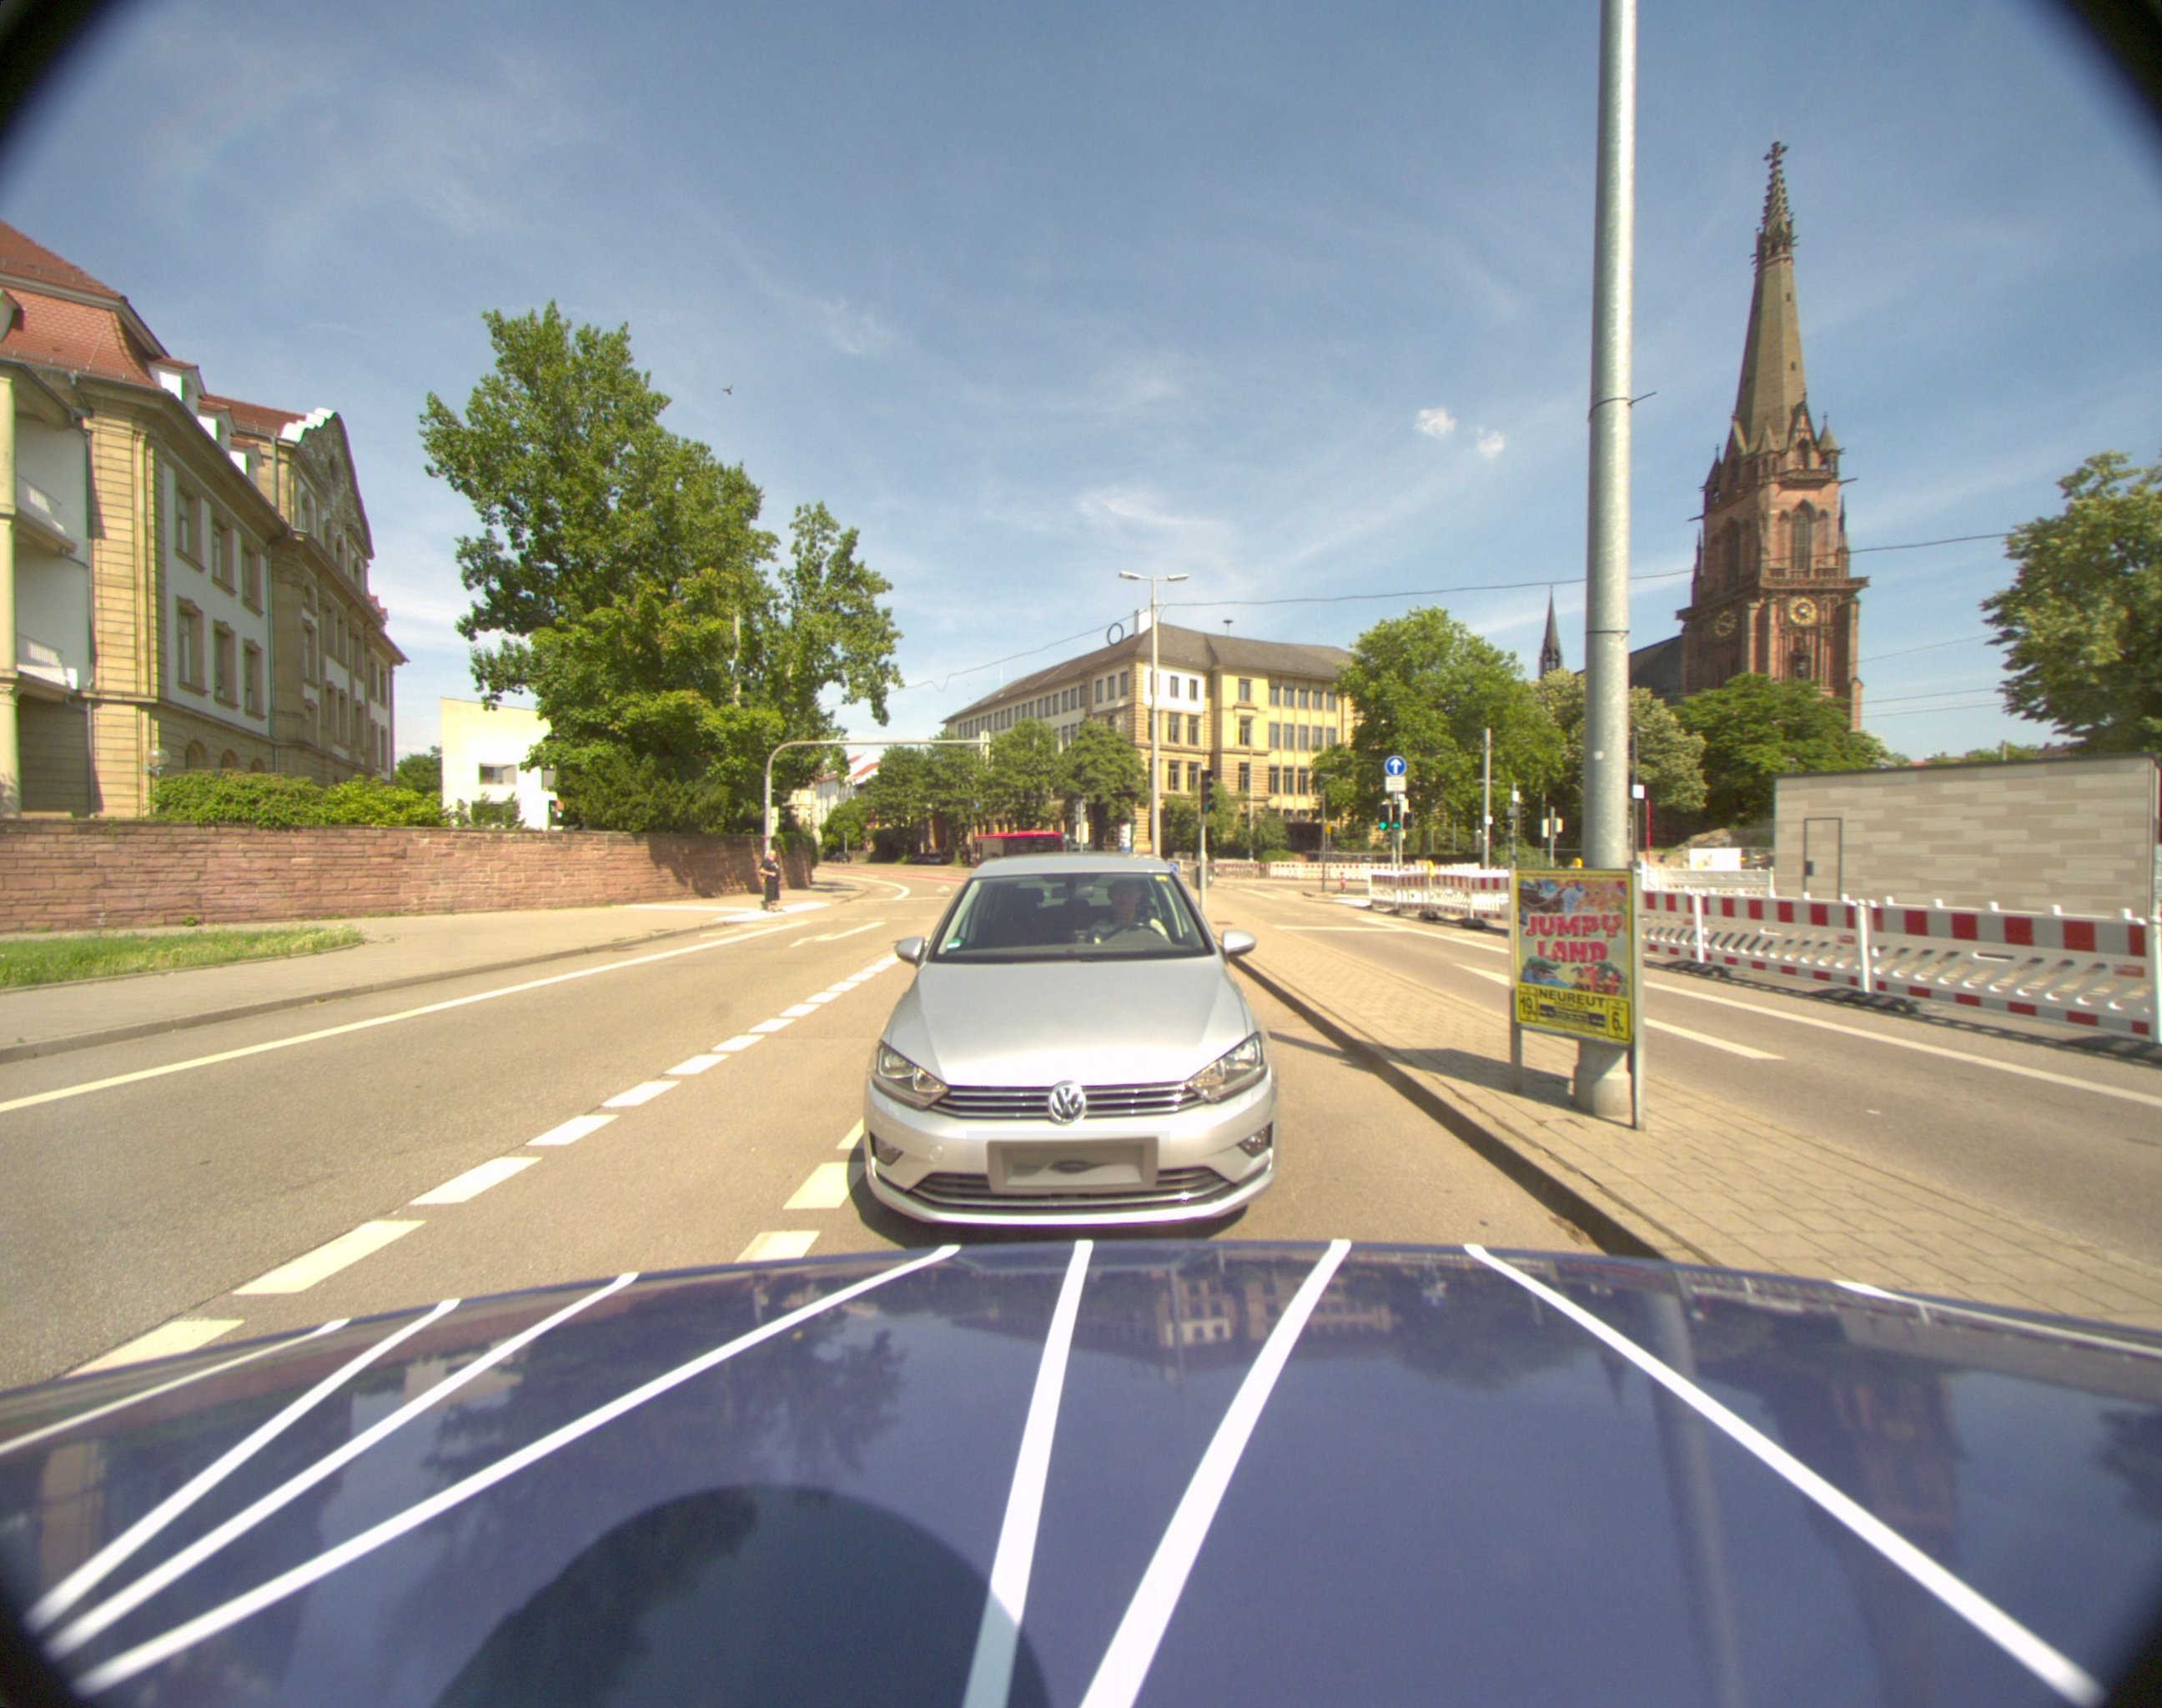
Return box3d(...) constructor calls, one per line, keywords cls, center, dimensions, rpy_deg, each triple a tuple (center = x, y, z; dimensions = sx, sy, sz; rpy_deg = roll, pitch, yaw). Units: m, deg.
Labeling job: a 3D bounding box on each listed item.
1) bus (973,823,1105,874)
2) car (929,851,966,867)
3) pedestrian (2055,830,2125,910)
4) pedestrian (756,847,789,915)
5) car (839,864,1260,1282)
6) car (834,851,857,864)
box3d(cls="bus", center=(-3.281, -0.287, 52.719), dimensions=(3.138, 3.076, 12.382), rpy_deg=(-3, 1, -34))
box3d(cls="car", center=(-16.509, 0.575, 93.772), dimensions=(4.006, 1.653, 1.994), rpy_deg=(-3, 4, -35))
box3d(cls="pedestrian", center=(26.024, 0.405, 19.612), dimensions=(0.820, 2.002, 0.686), rpy_deg=(1, 1, 3))
box3d(cls="pedestrian", center=(-9.145, 0.782, 22.549), dimensions=(0.796, 2.002, 0.615), rpy_deg=(0, 1, -14))
box3d(cls="car", center=(-0.036, 0.898, 5.126), dimensions=(1.687, 1.577, 4.152), rpy_deg=(0, 0, 3))
box3d(cls="car", center=(-31.747, 0.529, 102.460), dimensions=(2.003, 1.608, 3.990), rpy_deg=(-3, 1, -31))
